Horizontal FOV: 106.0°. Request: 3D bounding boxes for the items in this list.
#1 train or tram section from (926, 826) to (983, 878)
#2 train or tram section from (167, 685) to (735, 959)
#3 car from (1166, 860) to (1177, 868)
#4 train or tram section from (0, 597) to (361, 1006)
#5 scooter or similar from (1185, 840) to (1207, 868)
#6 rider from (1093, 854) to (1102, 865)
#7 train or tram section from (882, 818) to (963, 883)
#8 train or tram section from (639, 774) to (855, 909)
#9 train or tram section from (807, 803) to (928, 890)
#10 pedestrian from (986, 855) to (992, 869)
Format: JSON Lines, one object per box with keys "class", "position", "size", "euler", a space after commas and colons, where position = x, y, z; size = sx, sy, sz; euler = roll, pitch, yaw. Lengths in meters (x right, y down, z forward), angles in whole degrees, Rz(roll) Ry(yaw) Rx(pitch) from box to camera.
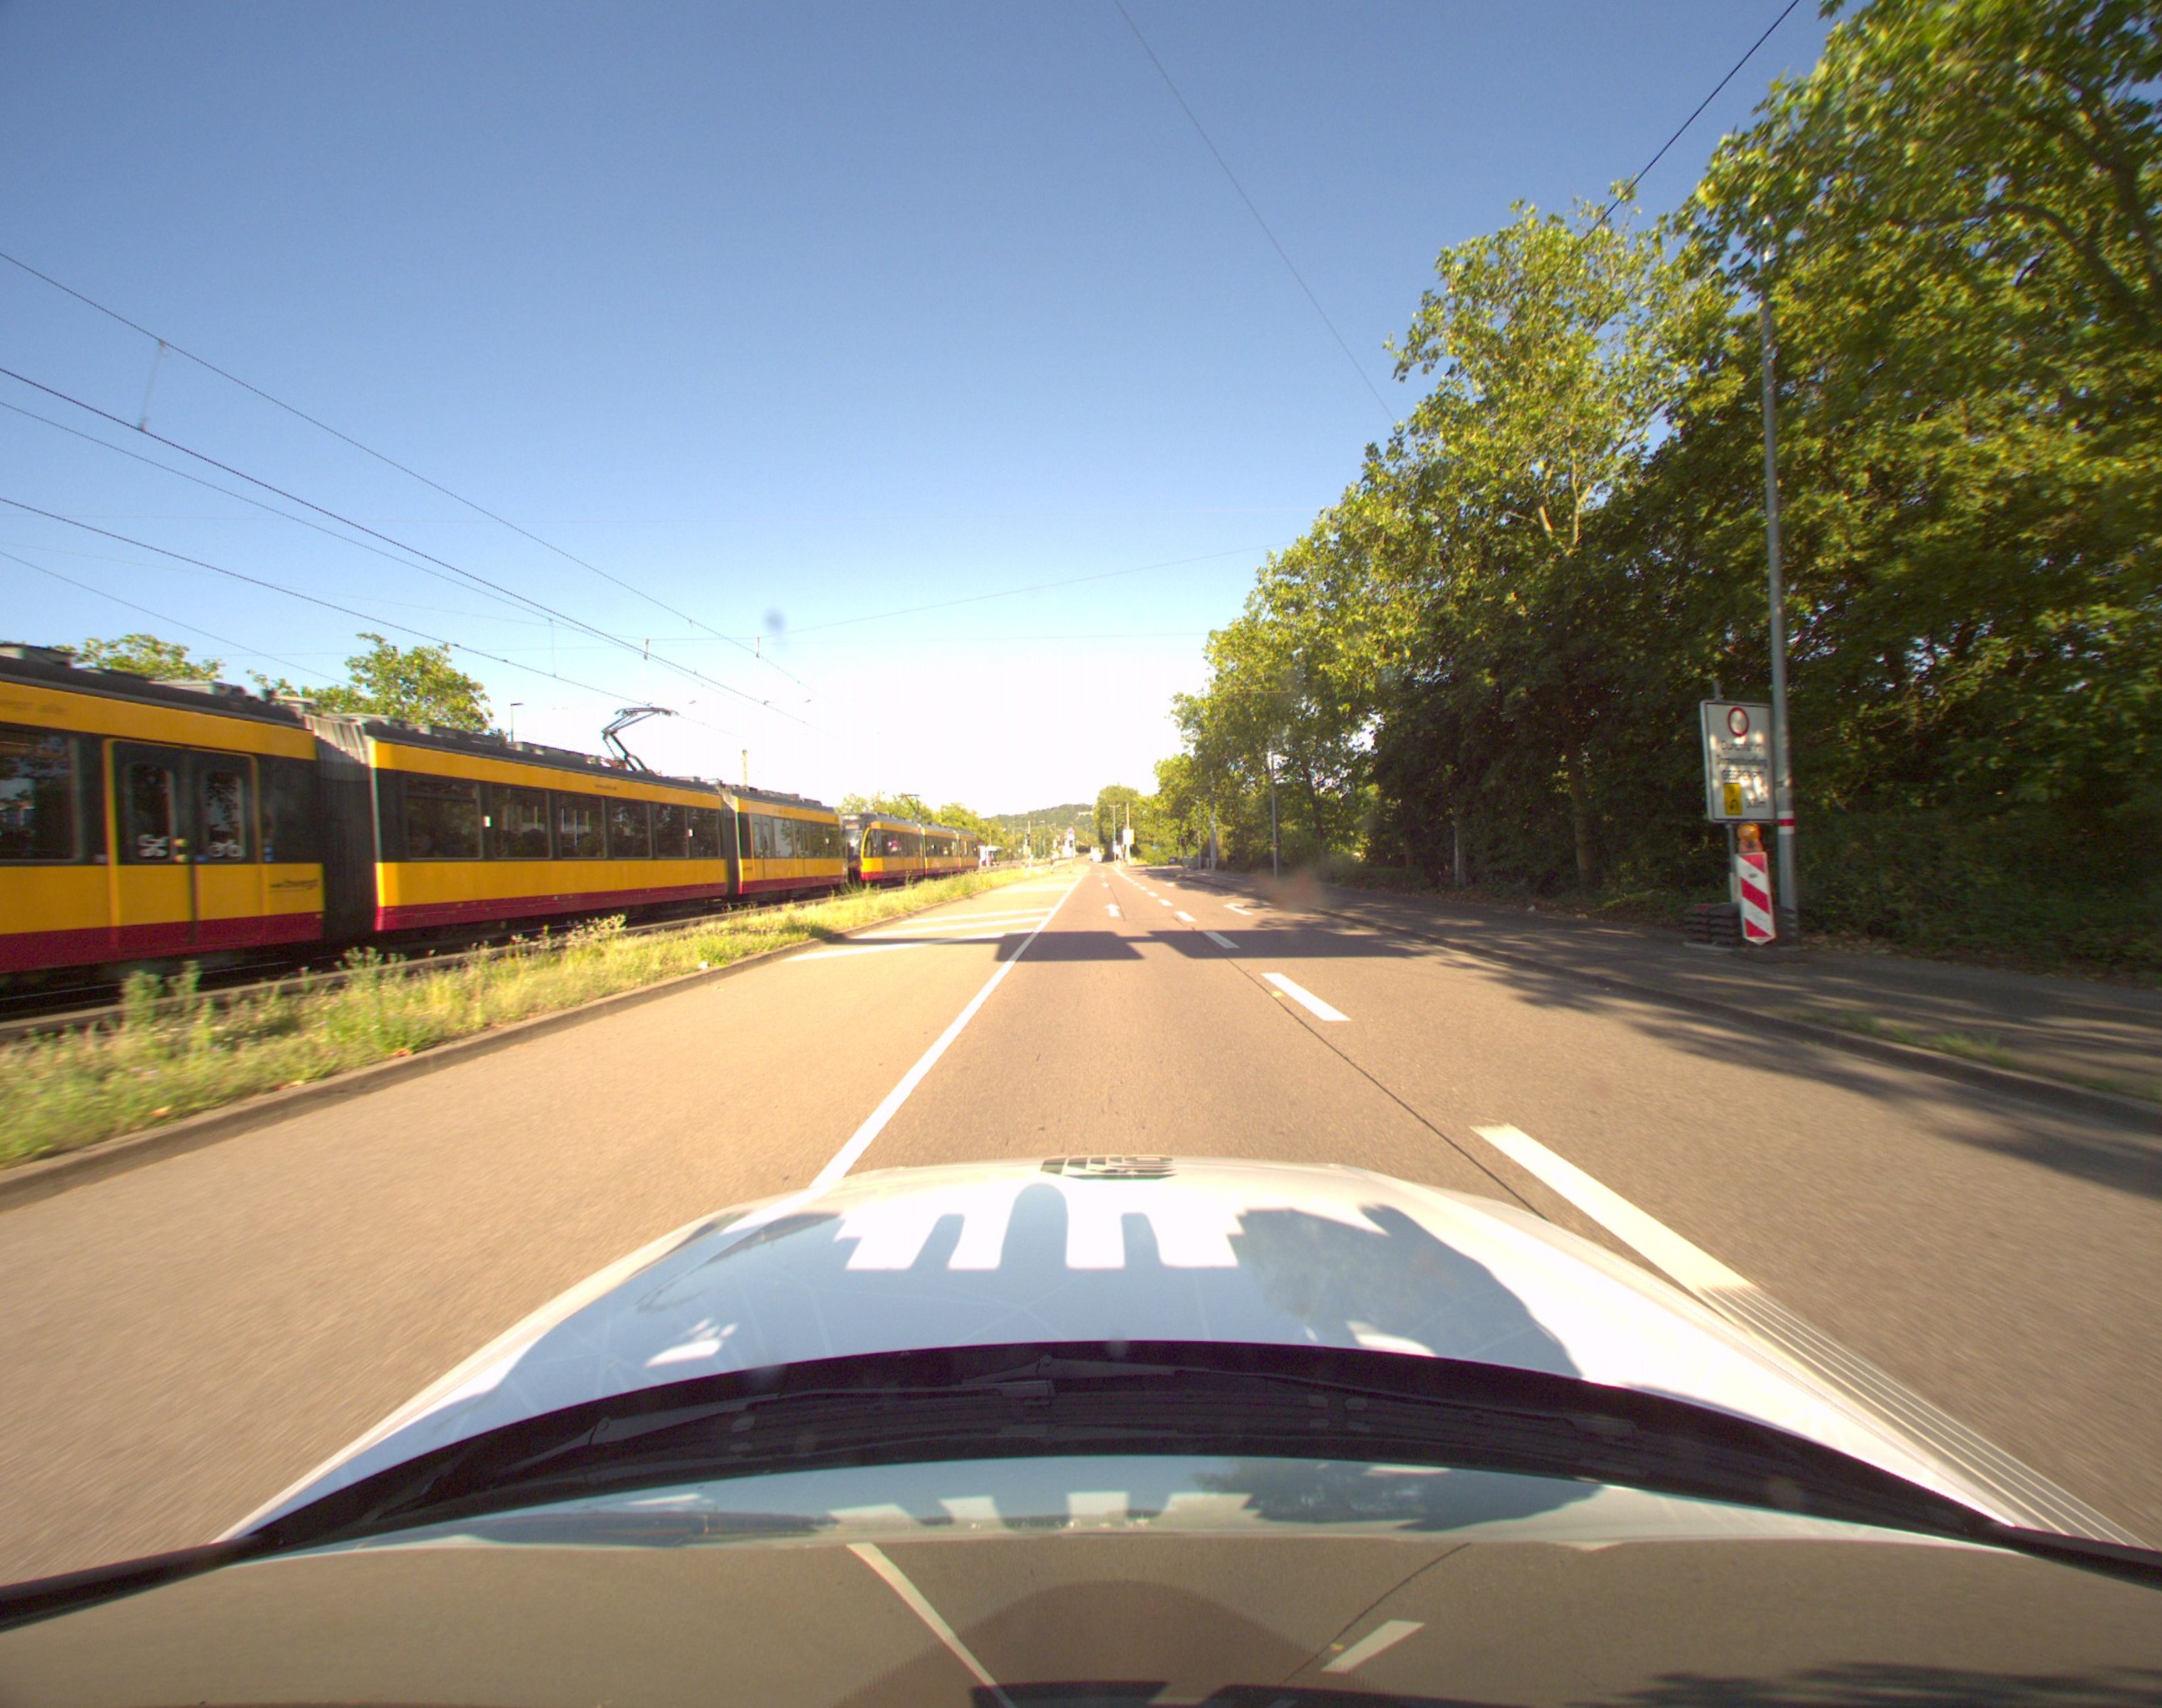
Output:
{"class": "train or tram section", "position": [-10.339, -0.088, 67.854], "size": [2.814, 3.951, 10.836], "euler": [0, -1, 1]}
{"class": "train or tram section", "position": [-11.547, -0.414, 17.643], "size": [2.794, 3.903, 11.991], "euler": [0, -1, 1]}
{"class": "car", "position": [17.715, 1.907, 159.444], "size": [2.075, 1.566, 3.963], "euler": [0, -1, 7]}
{"class": "train or tram section", "position": [-11.752, -0.516, 5.405], "size": [2.794, 3.903, 12.333], "euler": [0, -1, 1]}
{"class": "scooter or similar", "position": [11.492, 0.025, 81.786], "size": [1.675, 2.716, 4.871], "euler": [-1, 0, 2]}
{"class": "rider", "position": [4.007, 1.313, 194.898], "size": [2.098, 2.647, 0.738], "euler": [-1, -1, 6]}
{"class": "train or tram section", "position": [-10.615, -0.186, 56.099], "size": [2.814, 3.951, 12.656], "euler": [0, -1, 1]}
{"class": "train or tram section", "position": [-11.346, -0.315, 29.578], "size": [2.794, 3.903, 11.813], "euler": [0, -1, 1]}
{"class": "train or tram section", "position": [-10.893, -0.291, 43.402], "size": [2.814, 3.951, 12.709], "euler": [0, -1, 1]}
{"class": "pedestrian", "position": [-13.278, 1.187, 117.577], "size": [0.741, 2.014, 0.608], "euler": [0, -1, 1]}
